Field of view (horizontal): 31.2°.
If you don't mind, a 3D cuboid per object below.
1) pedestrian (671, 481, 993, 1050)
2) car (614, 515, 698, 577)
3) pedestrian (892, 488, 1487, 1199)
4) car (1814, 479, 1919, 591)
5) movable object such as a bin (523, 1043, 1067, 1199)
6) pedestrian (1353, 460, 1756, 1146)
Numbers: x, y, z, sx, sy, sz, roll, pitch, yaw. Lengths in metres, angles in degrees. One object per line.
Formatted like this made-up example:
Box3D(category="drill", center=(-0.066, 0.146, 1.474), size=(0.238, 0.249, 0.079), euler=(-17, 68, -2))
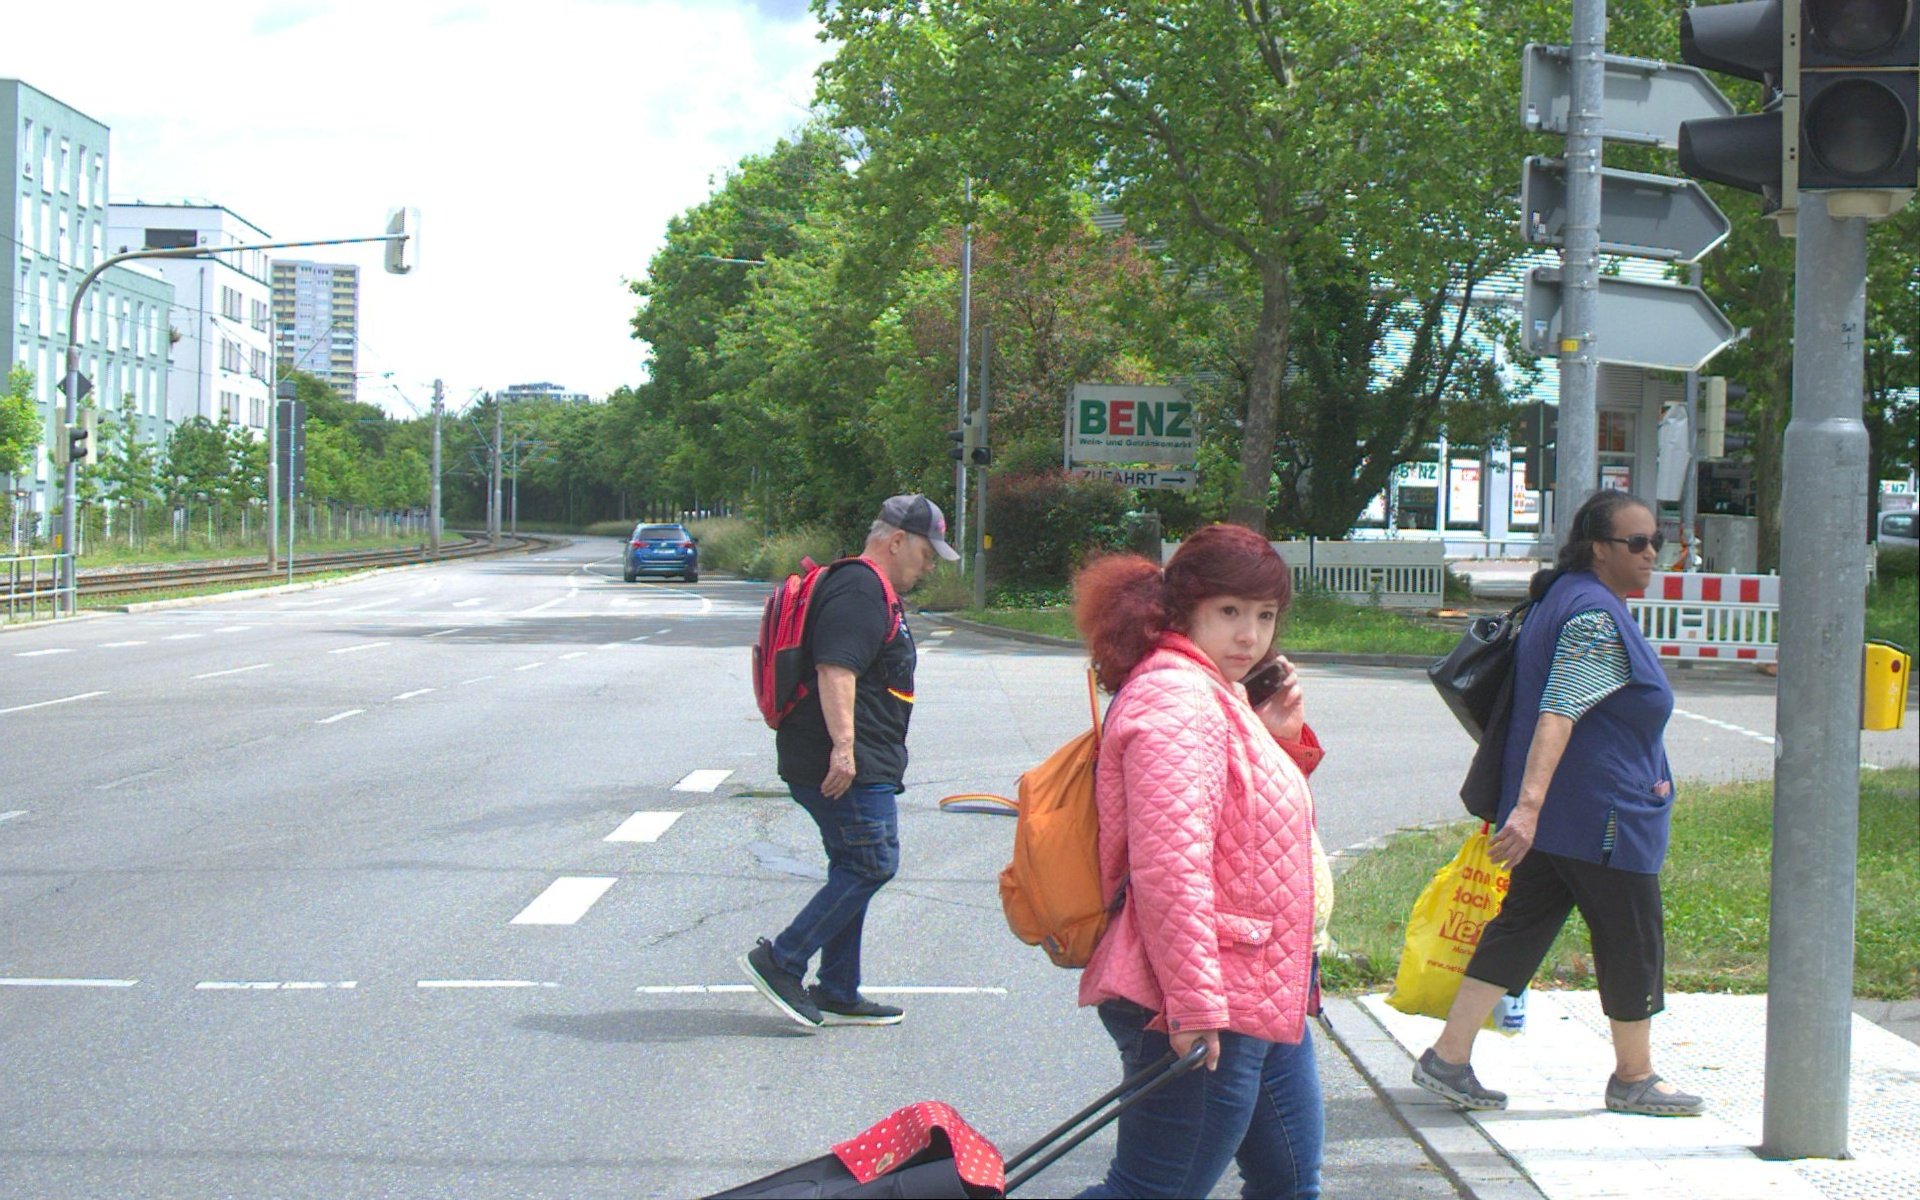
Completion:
Box3D(category="pedestrian", center=(-0.358, 0.454, 10.111), size=(0.892, 1.591, 0.908), euler=(1, 1, 0))
Box3D(category="car", center=(-7.531, -1.361, 84.947), size=(1.982, 1.481, 4.492), euler=(0, 1, -6))
Box3D(category="pedestrian", center=(0.340, 0.601, 5.537), size=(0.881, 1.549, 0.746), euler=(1, 1, 0))
Box3D(category="car", center=(17.744, -1.184, 62.560), size=(1.993, 2.007, 4.000), euler=(0, 2, -32))
Box3D(category="movable object such as a bin", center=(-0.245, 1.091, 5.425), size=(0.795, 0.659, 0.778), euler=(1, 1, 0))
Box3D(category="pedestrian", center=(1.450, 0.464, 8.561), size=(0.913, 1.601, 0.929), euler=(1, 1, 7))
